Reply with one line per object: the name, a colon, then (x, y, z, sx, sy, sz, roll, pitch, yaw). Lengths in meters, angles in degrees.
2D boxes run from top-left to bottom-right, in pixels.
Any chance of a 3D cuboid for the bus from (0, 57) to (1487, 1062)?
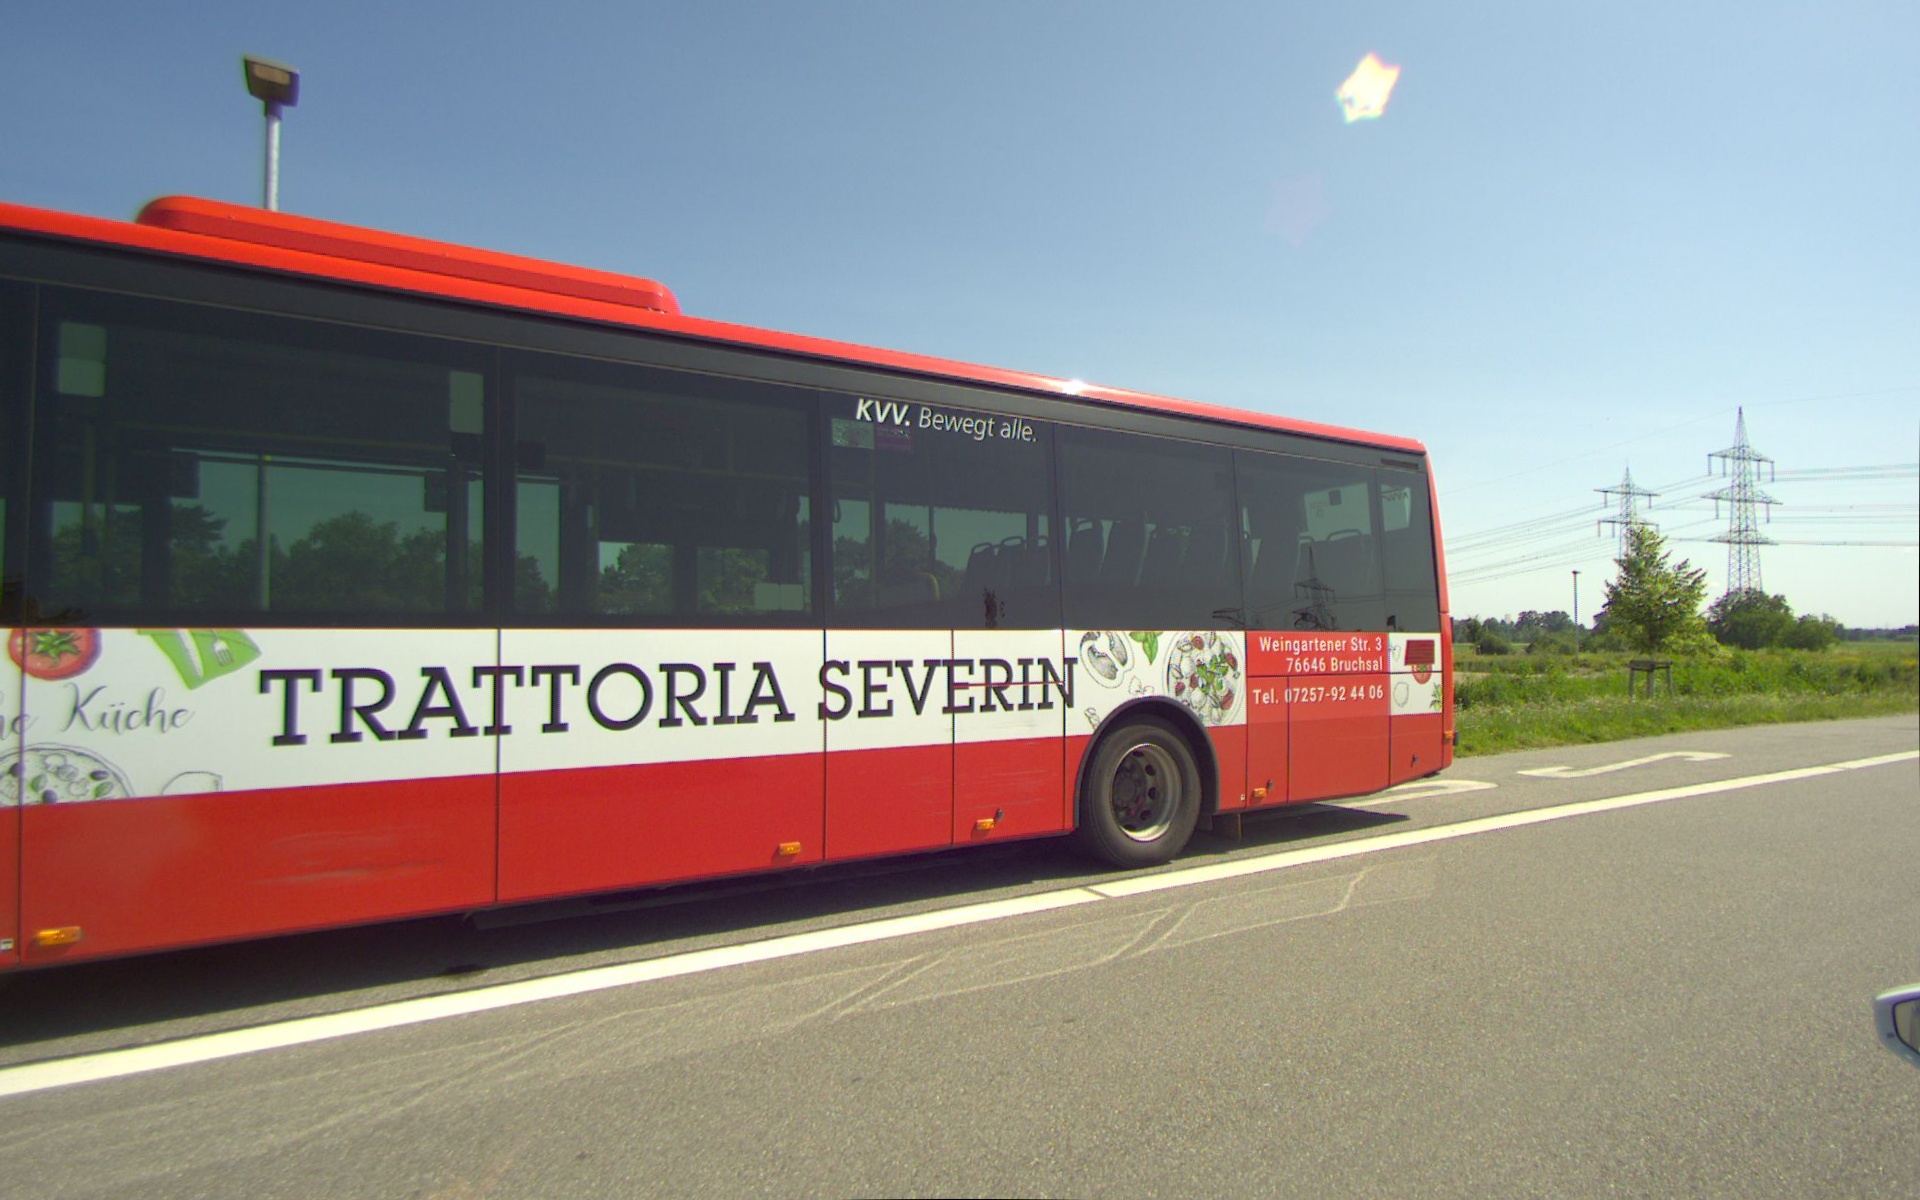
bus: (-1.678, -0.063, 5.912, 12.093, 3.330, 2.779, 1, -2, -32)
